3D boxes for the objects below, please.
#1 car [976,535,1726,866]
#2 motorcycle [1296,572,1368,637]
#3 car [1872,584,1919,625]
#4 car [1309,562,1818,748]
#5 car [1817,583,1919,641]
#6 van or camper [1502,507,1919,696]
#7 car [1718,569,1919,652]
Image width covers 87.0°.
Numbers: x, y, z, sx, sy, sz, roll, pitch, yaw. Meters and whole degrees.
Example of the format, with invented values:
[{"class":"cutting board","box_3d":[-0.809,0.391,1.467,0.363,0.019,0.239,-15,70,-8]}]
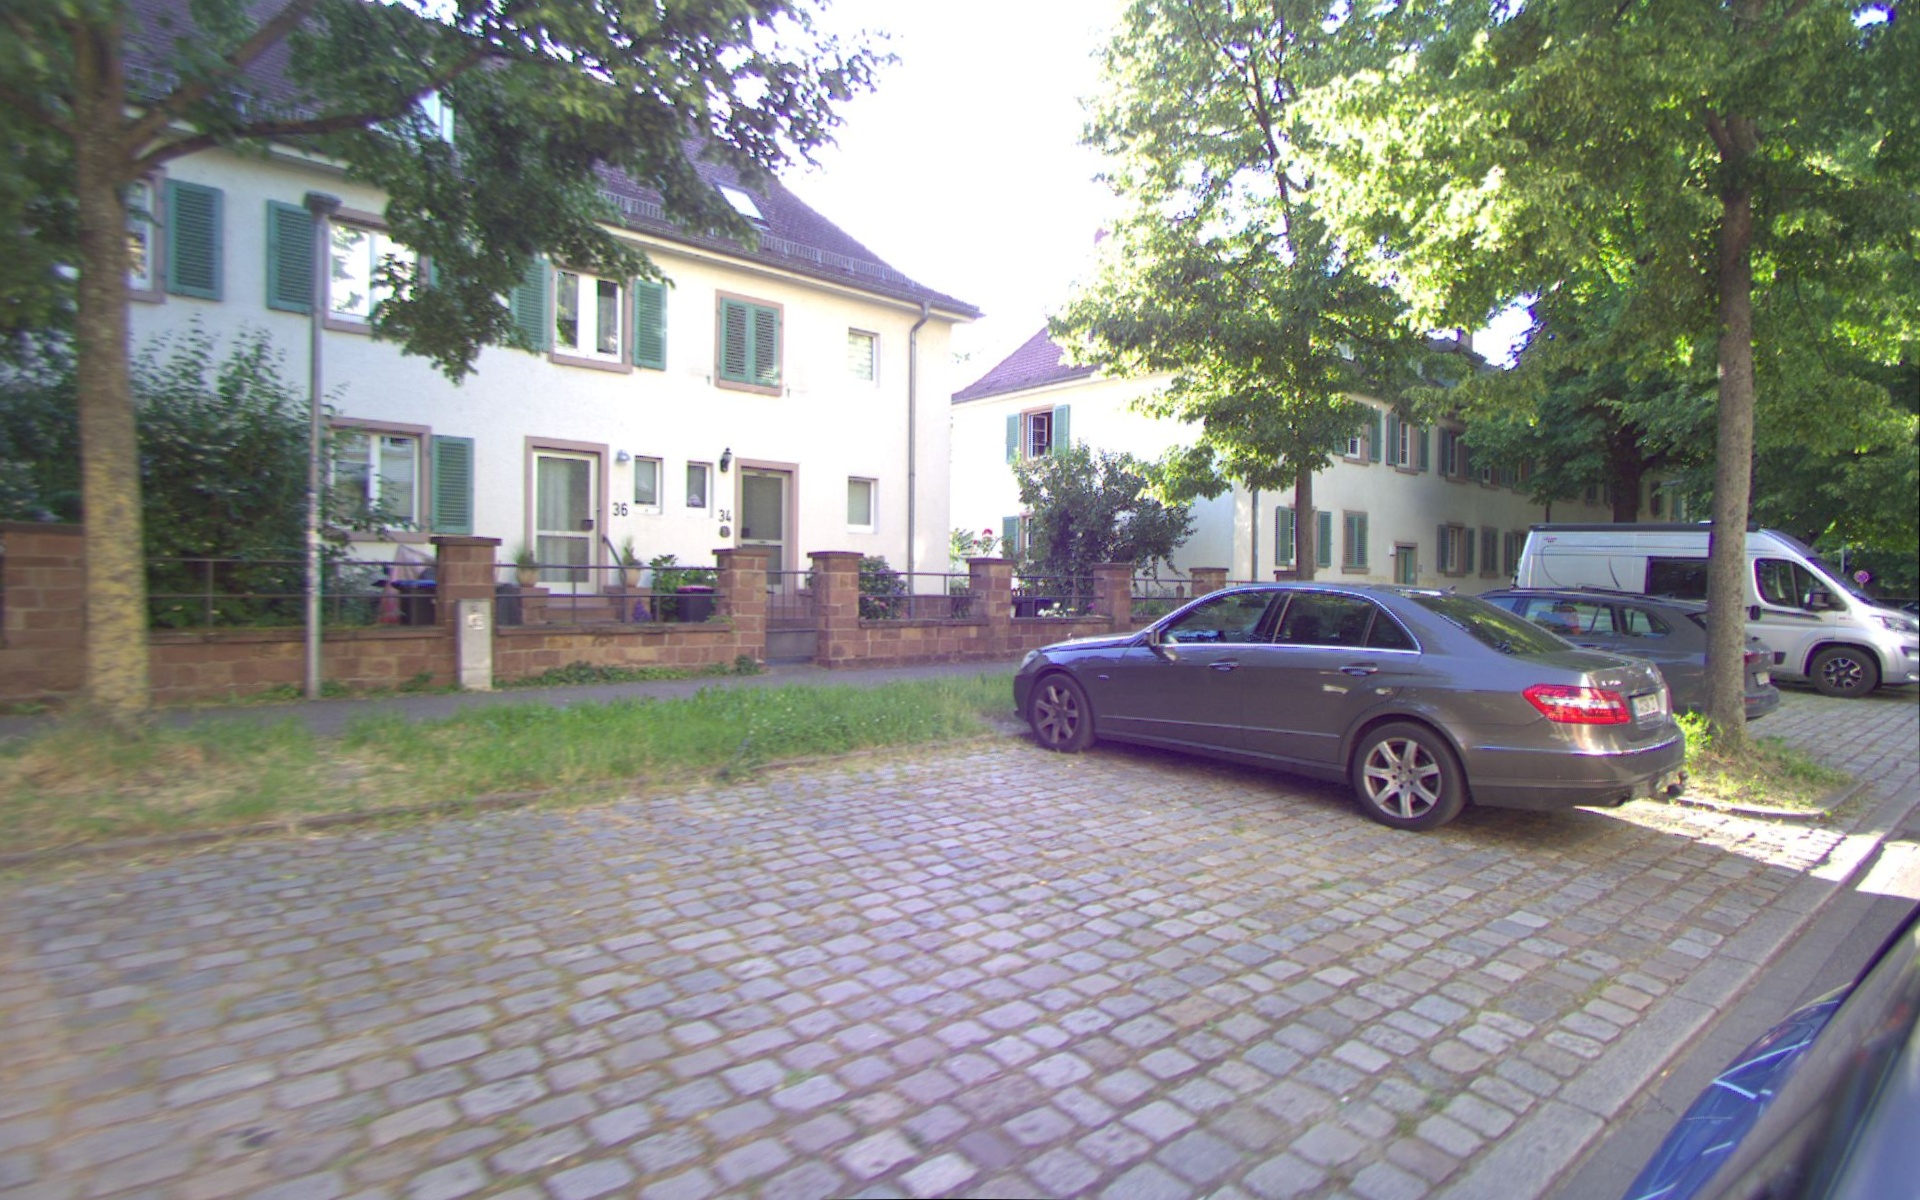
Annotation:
[{"class":"car","box_3d":[2.465,0.387,7.534,1.862,1.558,4.847,0,4,-42]},{"class":"motorcycle","box_3d":[8.472,0.088,23.011,1.981,1.424,0.660,-1,0,-41]},{"class":"car","box_3d":[38.003,0.201,39.090,1.547,1.531,3.991,0,2,-44]},{"class":"car","box_3d":[6.446,0.424,11.296,1.796,1.453,4.487,0,4,-40]},{"class":"car","box_3d":[27.072,0.340,28.704,1.528,1.571,3.996,0,2,-40]},{"class":"van or camper","box_3d":[12.273,-0.162,16.345,2.124,2.546,5.733,0,4,-40]},{"class":"car","box_3d":[21.370,0.214,24.408,1.966,1.737,4.602,0,3,-42]}]
